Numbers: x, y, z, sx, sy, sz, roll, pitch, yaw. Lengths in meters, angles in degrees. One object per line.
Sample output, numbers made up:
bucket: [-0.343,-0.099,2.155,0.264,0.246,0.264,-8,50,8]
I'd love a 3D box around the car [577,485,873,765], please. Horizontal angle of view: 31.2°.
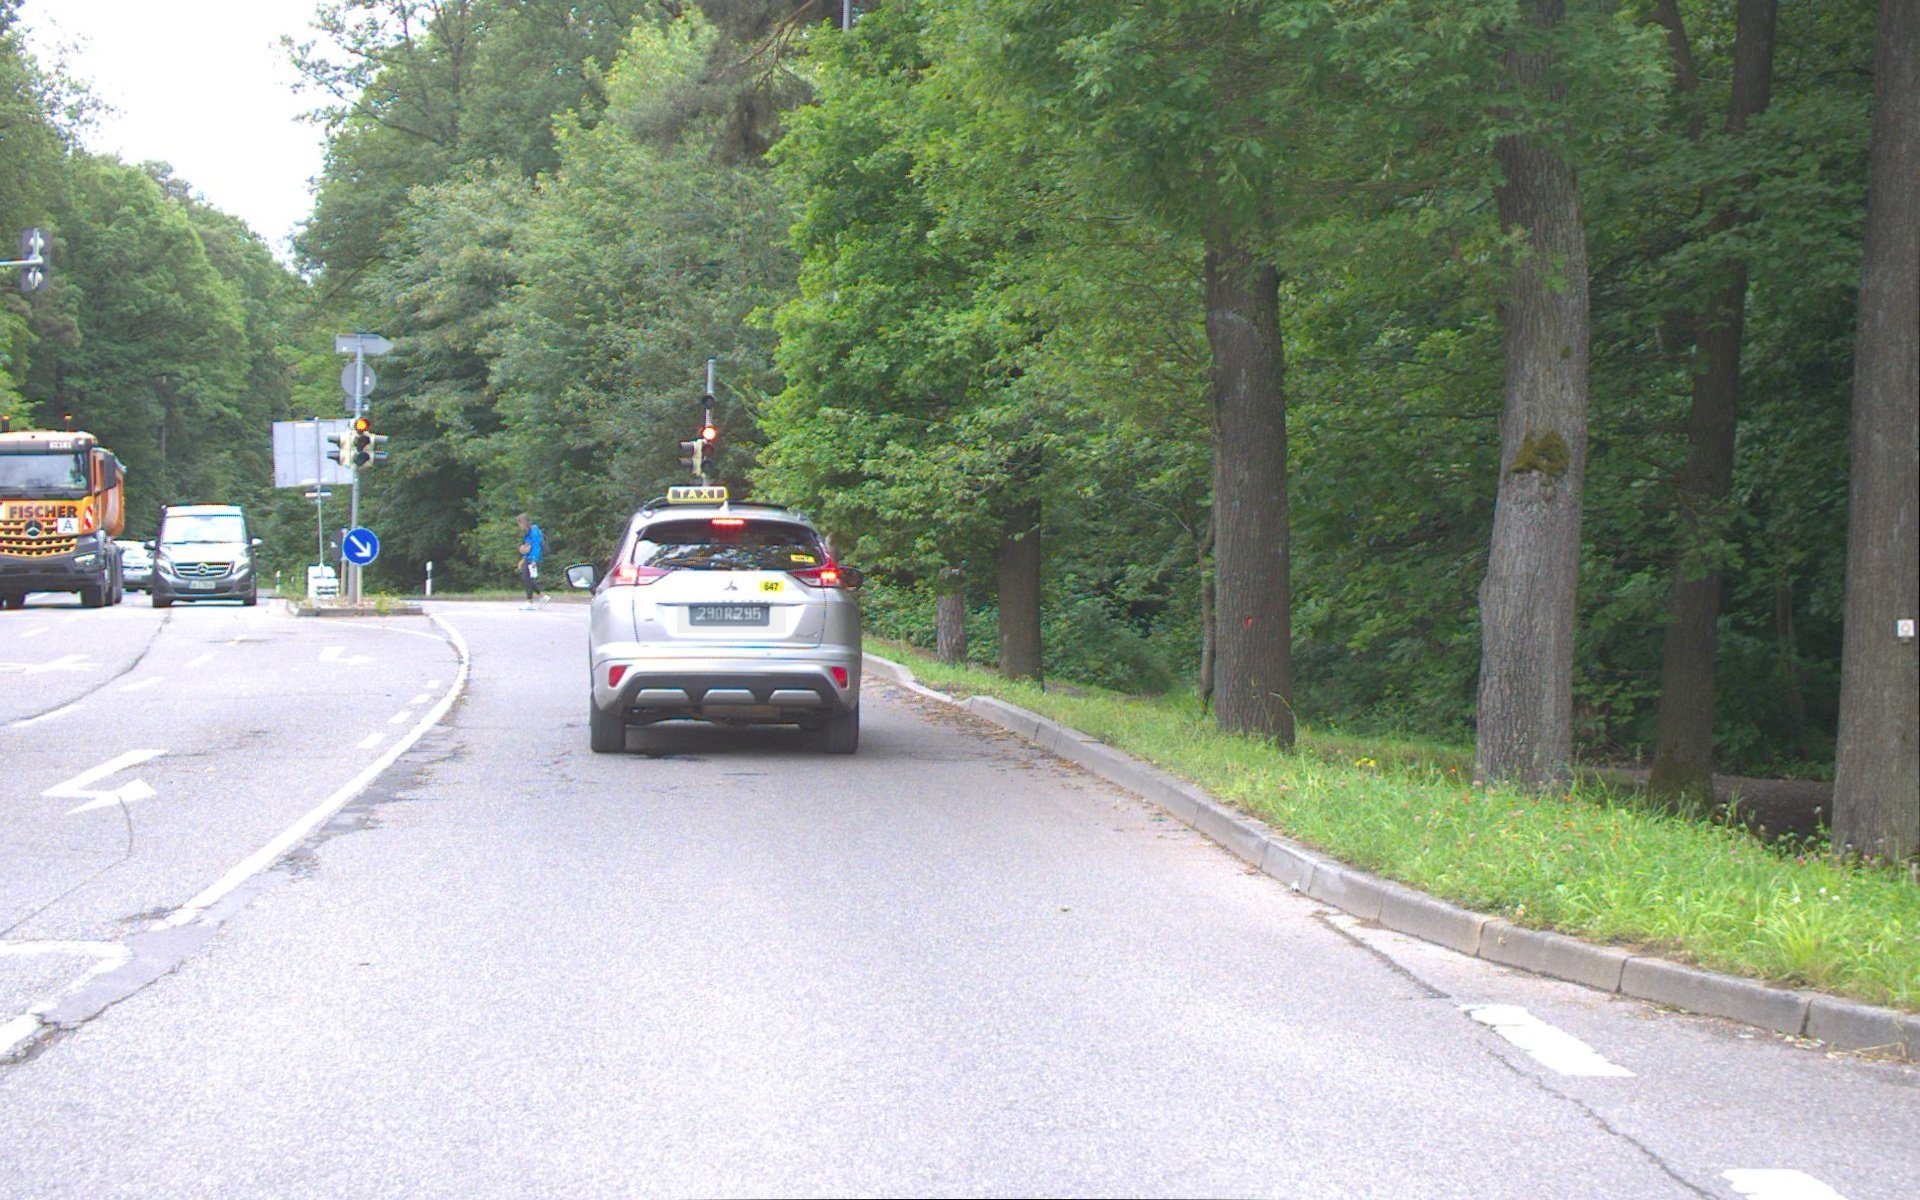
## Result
car: [-1.715,0.101,23.879,1.846,1.774,4.001,0,2,-7]

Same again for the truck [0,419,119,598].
truck: [-17.878,-1.707,67.037,2.738,3.307,7.162,-1,0,-13]

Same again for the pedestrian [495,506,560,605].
pedestrian: [-7.343,-0.762,58.431,1.047,1.643,1.069,0,2,-4]

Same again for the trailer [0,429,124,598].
trailer: [-18.934,-1.727,71.693,2.738,3.307,8.571,-1,0,-13]

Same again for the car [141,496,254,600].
car: [-14.598,-0.995,65.977,1.993,1.887,4.840,-1,1,-11]
